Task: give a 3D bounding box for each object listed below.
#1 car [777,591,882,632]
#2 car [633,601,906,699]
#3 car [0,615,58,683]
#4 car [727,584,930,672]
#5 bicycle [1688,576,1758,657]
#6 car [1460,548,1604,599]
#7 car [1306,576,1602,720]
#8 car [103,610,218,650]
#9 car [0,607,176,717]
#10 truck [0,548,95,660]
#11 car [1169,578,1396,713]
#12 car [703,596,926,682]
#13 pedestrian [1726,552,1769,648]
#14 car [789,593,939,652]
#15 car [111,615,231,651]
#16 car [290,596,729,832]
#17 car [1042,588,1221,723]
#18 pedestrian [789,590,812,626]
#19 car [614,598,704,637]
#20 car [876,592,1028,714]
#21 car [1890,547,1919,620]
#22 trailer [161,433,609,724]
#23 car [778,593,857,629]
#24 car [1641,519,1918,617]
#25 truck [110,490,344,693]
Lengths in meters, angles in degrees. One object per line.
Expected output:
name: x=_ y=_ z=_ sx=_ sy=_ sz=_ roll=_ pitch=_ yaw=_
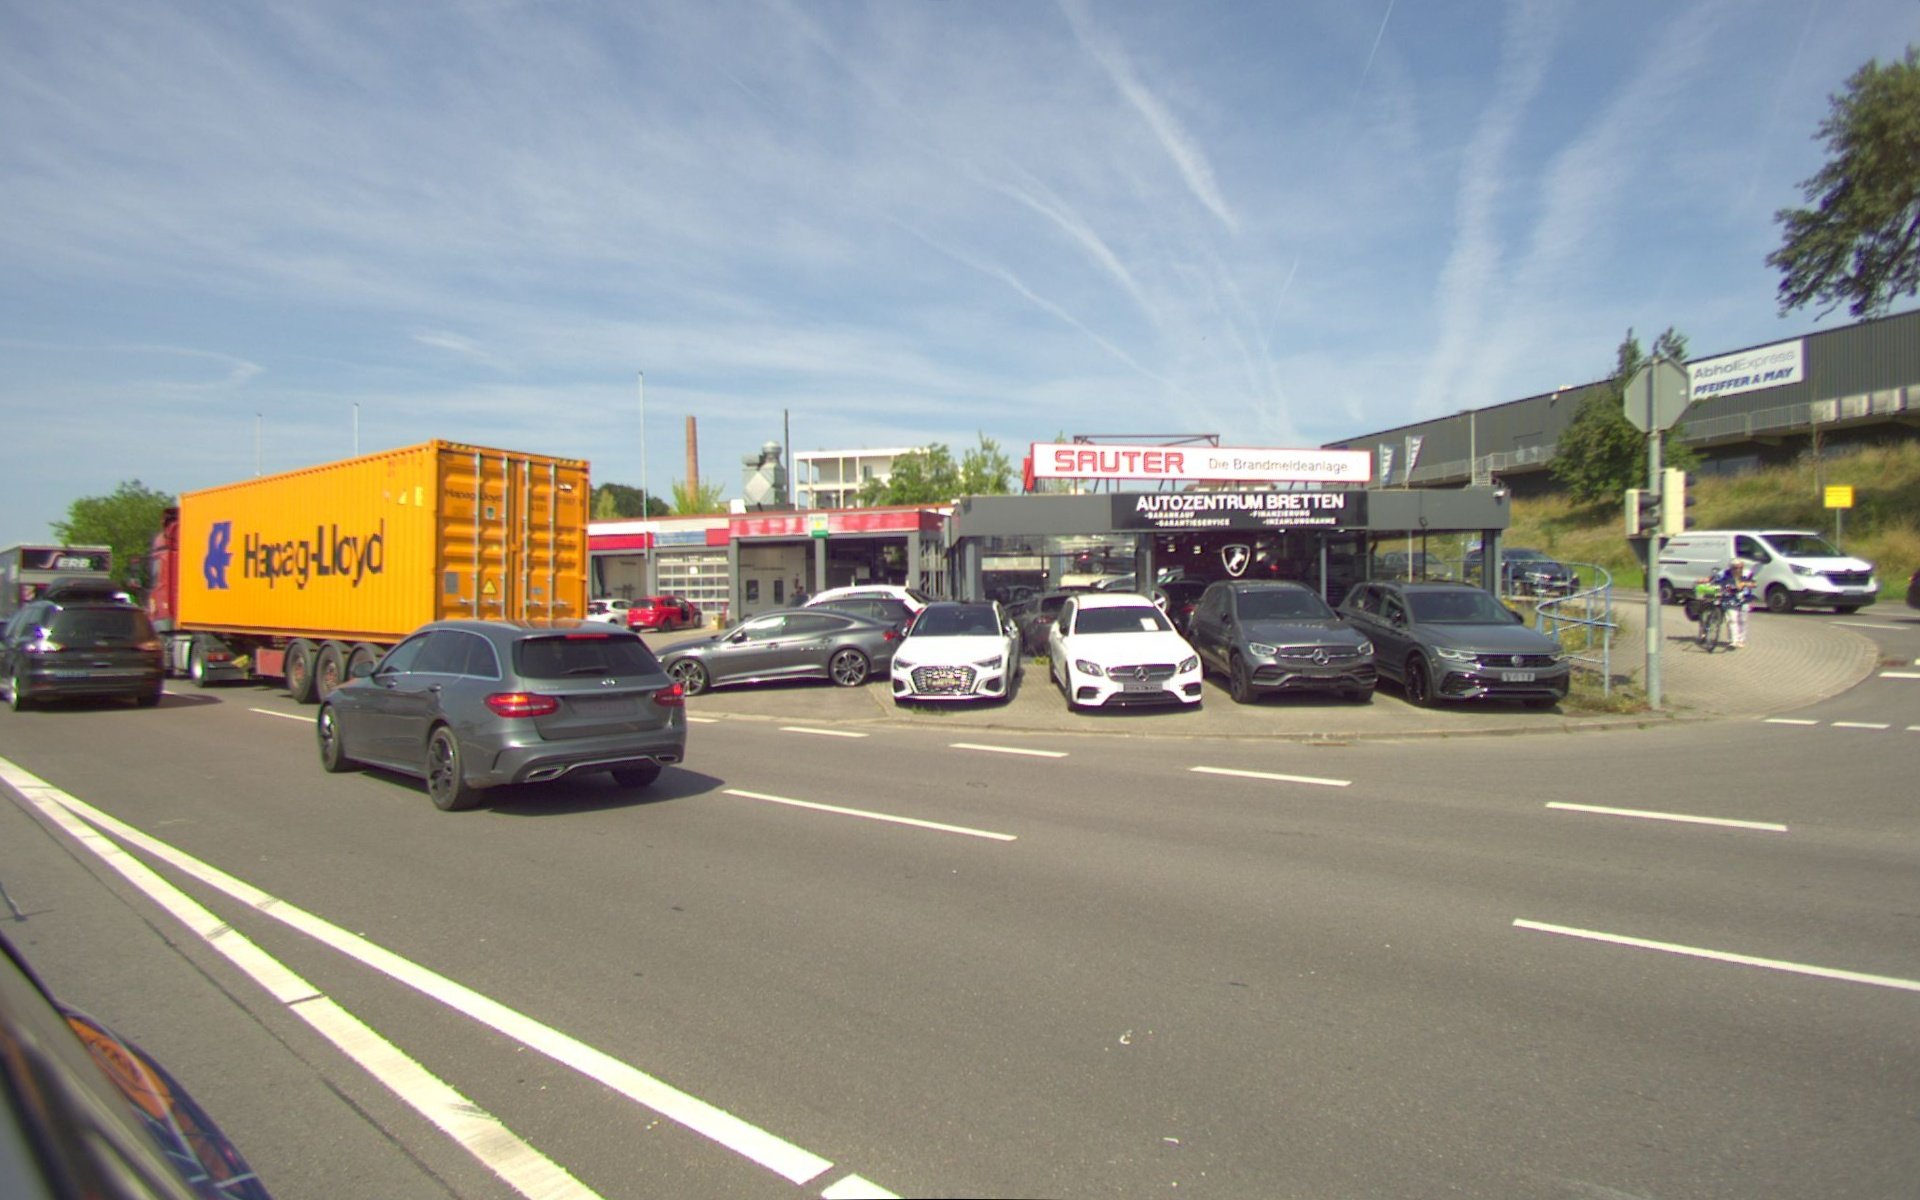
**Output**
car: x=-5.478 y=0.464 z=42.747 sx=4.039 sy=1.620 sz=1.887 roll=0 pitch=0 yaw=-41
car: x=-3.331 y=0.847 z=18.303 sx=4.570 sy=1.447 sz=1.977 roll=-2 pitch=1 yaw=-5
car: x=-23.192 y=1.144 z=24.167 sx=4.585 sy=1.535 sz=1.842 roll=-2 pitch=-2 yaw=40
car: x=-2.942 y=0.593 z=23.255 sx=4.404 sy=1.762 sz=1.894 roll=-2 pitch=1 yaw=-2
bicycle: x=12.687 y=0.238 z=16.884 sx=0.588 sy=1.036 sz=2.201 roll=-1 pitch=7 yaw=28
car: x=18.829 y=-0.896 z=33.573 sx=1.970 sy=1.574 sz=4.514 roll=-1 pitch=2 yaw=-4
car: x=7.026 y=0.542 z=15.081 sx=1.862 sy=1.637 sz=4.746 roll=-2 pitch=3 yaw=-3
car: x=-37.028 y=1.366 z=46.941 sx=1.871 sy=1.740 sz=3.944 roll=-1 pitch=-1 yaw=42
car: x=-14.991 y=0.978 z=16.978 sx=4.583 sy=1.614 sz=1.890 roll=-2 pitch=-2 yaw=39
truck: x=-37.616 y=0.188 z=40.536 sx=9.963 sy=4.028 sz=2.685 roll=-1 pitch=-1 yaw=39
car: x=4.763 y=0.546 z=15.780 sx=1.905 sy=1.638 sz=4.799 roll=-1 pitch=3 yaw=-1
car: x=-2.938 y=0.755 z=20.760 sx=4.277 sy=1.498 sz=1.802 roll=-2 pitch=1 yaw=-6
pedestrian: x=12.967 y=0.003 z=16.673 sx=0.493 sy=1.545 sz=0.381 roll=-1 pitch=5 yaw=29
car: x=-2.823 y=0.655 z=30.233 sx=4.281 sy=1.535 sz=1.817 roll=-2 pitch=1 yaw=-2
car: x=-35.150 y=1.439 z=45.166 sx=1.737 sy=1.504 sz=3.925 roll=-1 pitch=0 yaw=38
car: x=-4.253 y=0.849 z=9.176 sx=4.586 sy=1.614 sz=1.901 roll=-2 pitch=-2 yaw=41
car: x=2.416 y=0.697 z=15.517 sx=1.928 sy=1.524 sz=4.716 roll=-2 pitch=3 yaw=0
pedestrian: x=-7.925 y=0.402 z=50.193 sx=0.739 sy=1.740 sz=0.860 roll=-1 pitch=2 yaw=24
car: x=-13.384 y=0.763 z=45.247 sx=1.902 sy=1.630 sz=3.976 roll=-1 pitch=0 yaw=18
car: x=0.038 y=0.738 z=16.664 sx=1.870 sy=1.486 sz=4.707 roll=-2 pitch=3 yaw=7
car: x=19.890 y=-0.257 z=17.966 sx=1.920 sy=1.429 sz=4.980 roll=-1 pitch=3 yaw=-4
trailer: x=-11.272 y=-0.232 z=18.812 sx=12.214 sy=4.028 sz=2.695 roll=-1 pitch=-1 yaw=37
car: x=-6.889 y=0.517 z=49.278 sx=1.858 sy=1.574 sz=4.068 roll=-1 pitch=2 yaw=26
car: x=19.794 y=-0.820 z=24.897 sx=2.037 sy=2.056 sz=5.521 roll=-2 pitch=3 yaw=-4
truck: x=-16.783 y=-0.140 z=23.037 sx=6.047 sy=4.028 sz=2.695 roll=-1 pitch=-1 yaw=37
